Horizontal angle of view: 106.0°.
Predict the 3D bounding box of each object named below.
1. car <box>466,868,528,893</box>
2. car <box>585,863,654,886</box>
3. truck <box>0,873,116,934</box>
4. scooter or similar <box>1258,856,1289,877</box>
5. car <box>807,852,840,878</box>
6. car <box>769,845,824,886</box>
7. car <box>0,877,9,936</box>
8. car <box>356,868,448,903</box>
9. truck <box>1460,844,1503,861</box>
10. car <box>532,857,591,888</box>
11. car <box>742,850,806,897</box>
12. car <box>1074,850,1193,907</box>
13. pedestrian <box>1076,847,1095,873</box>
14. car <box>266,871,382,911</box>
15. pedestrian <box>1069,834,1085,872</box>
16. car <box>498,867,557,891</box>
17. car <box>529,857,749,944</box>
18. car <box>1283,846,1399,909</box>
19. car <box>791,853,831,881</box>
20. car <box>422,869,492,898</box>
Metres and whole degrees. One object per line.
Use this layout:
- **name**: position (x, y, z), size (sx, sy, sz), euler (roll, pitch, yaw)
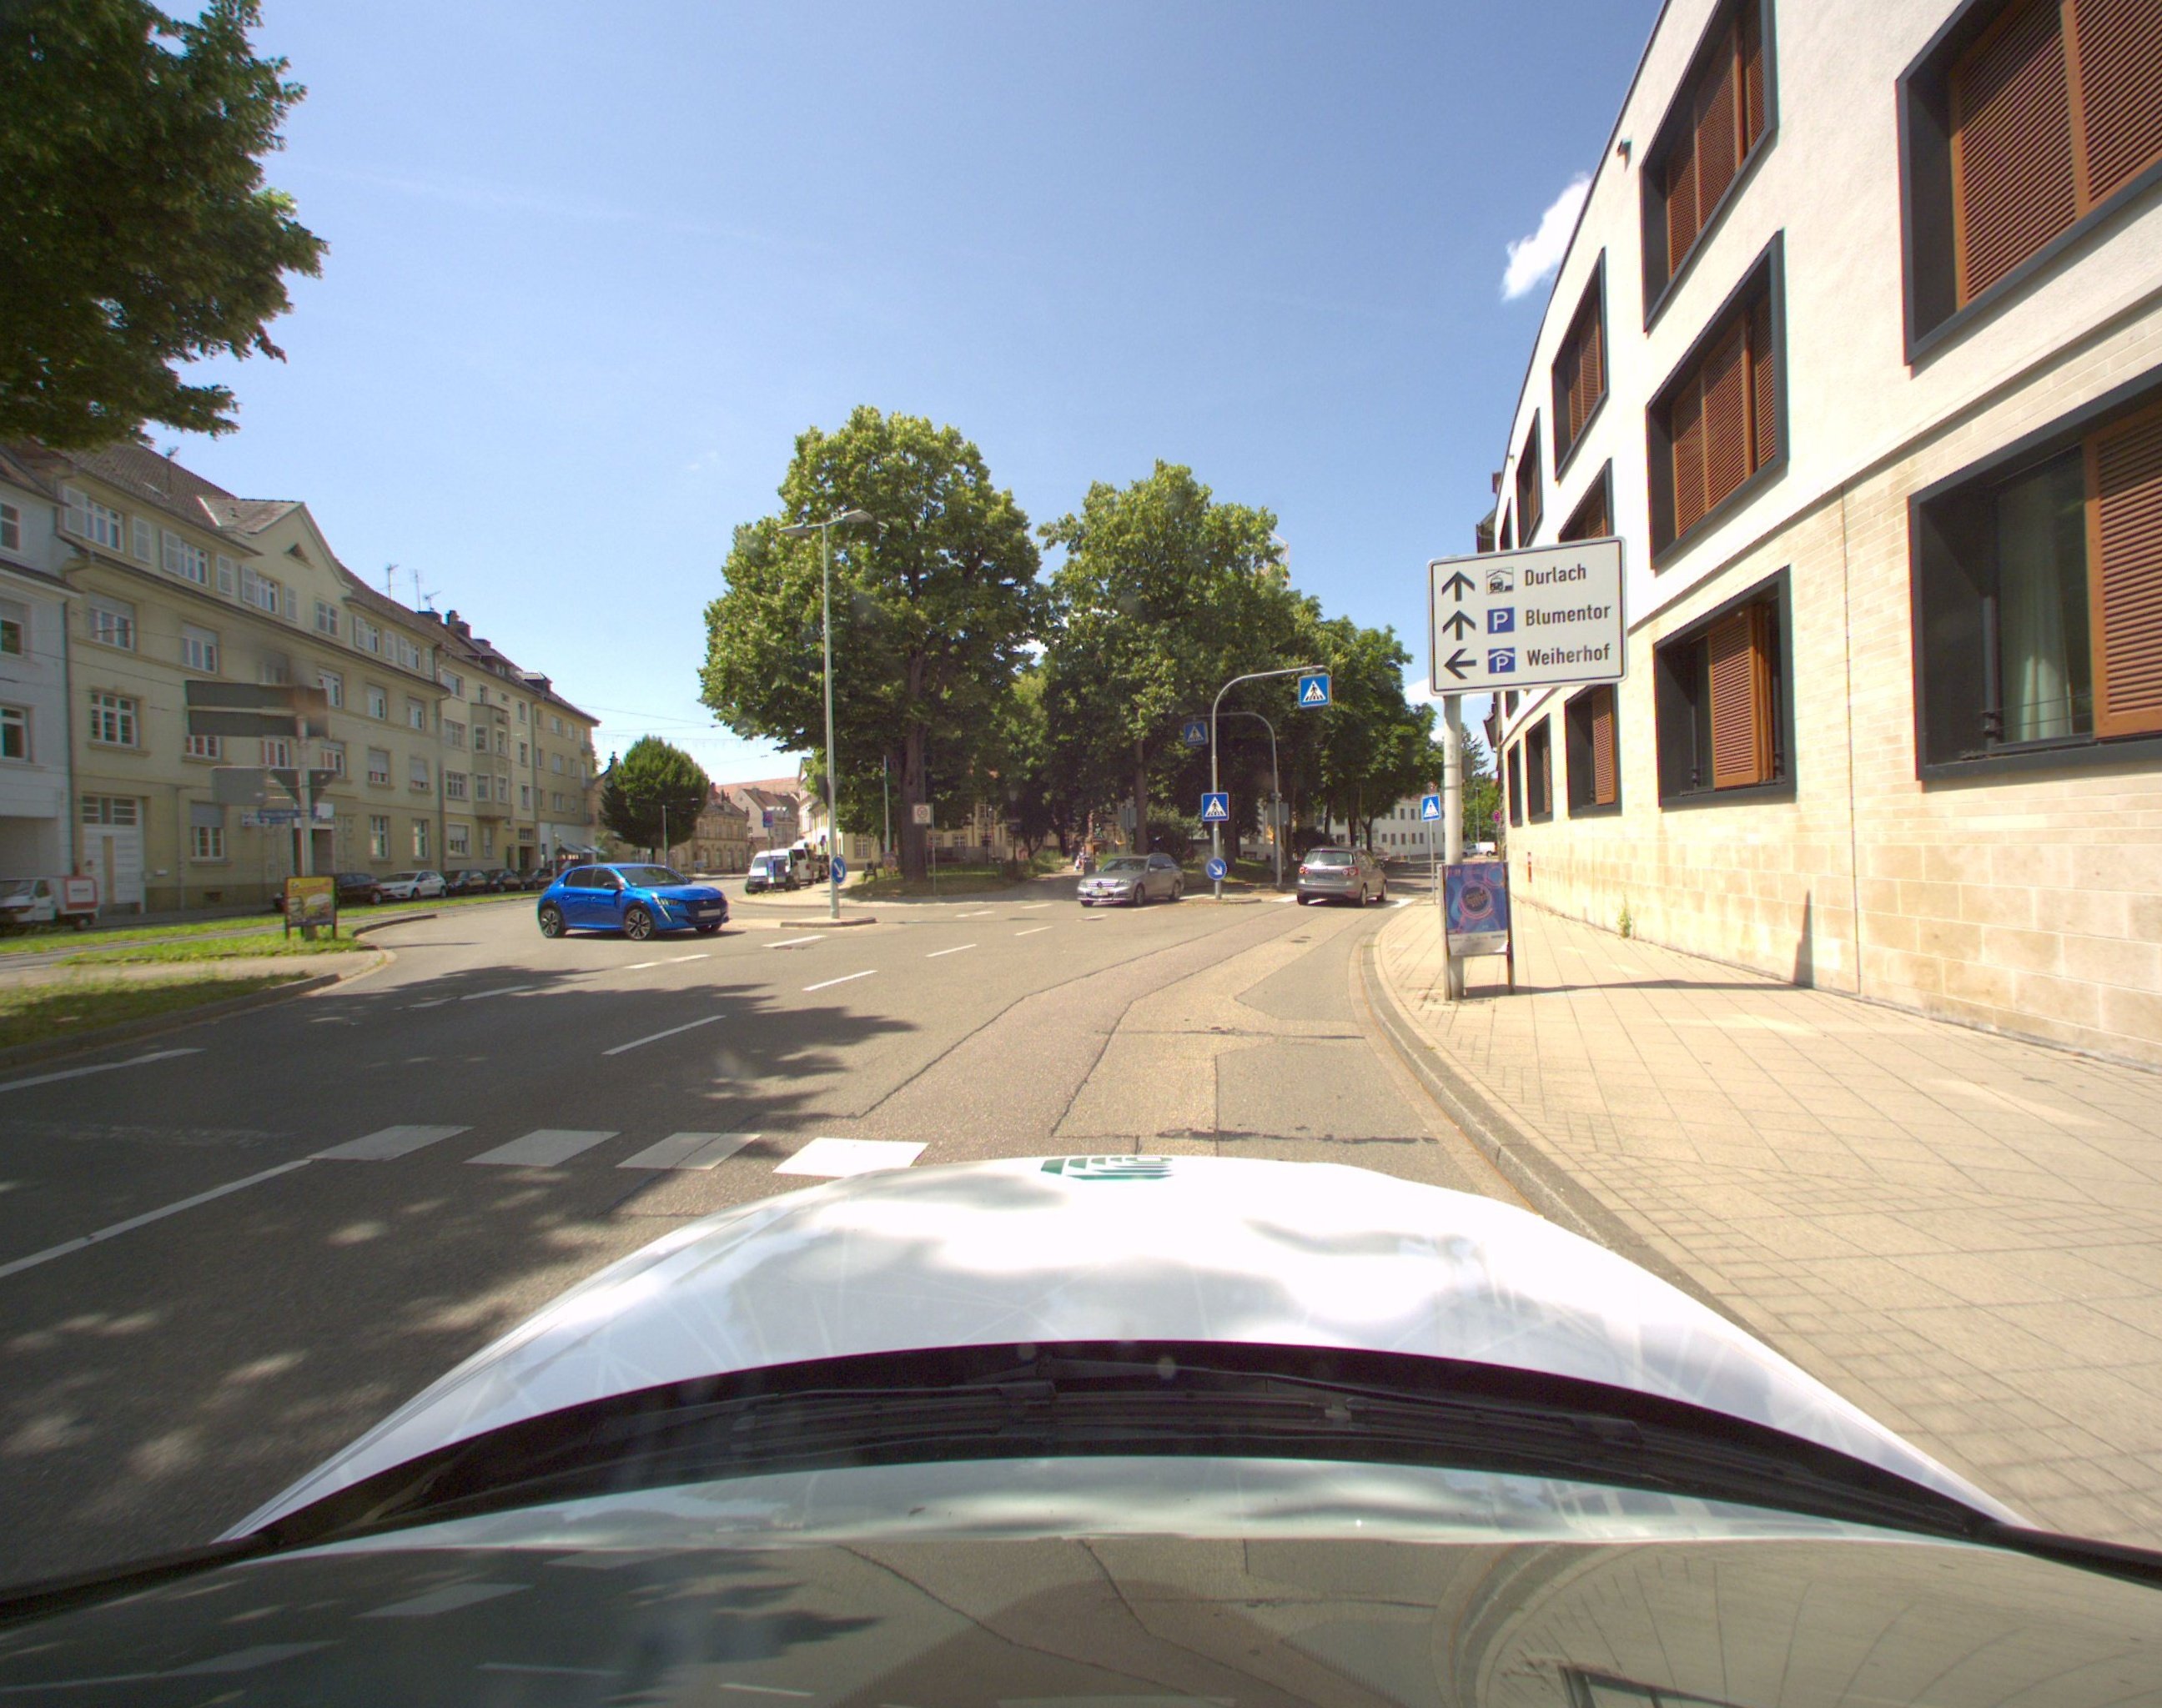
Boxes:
- **car**: position (-33.994, 1.517, 47.506), size (1.604, 1.277, 3.570), euler (-3, 1, -13)
- **car**: position (-35.505, 1.547, 62.780), size (4.214, 1.505, 1.992), euler (-4, 1, -18)
- **truck**: position (-28.207, 1.328, 22.175), size (1.128, 1.494, 2.581), euler (-3, 1, -15)
- **scooter or similar**: position (10.598, 0.662, 44.918), size (1.261, 0.991, 1.460), euler (8, 4, 26)
- **car**: position (-18.031, 0.756, 57.118), size (1.784, 1.693, 4.183), euler (-1, 0, -12)
- **car**: position (-14.999, 0.562, 43.133), size (2.051, 2.002, 5.227), euler (-1, 0, -12)
- **car**: position (-27.024, 1.338, 18.282), size (1.573, 1.451, 3.609), euler (-3, 1, -13)
- **car**: position (-31.754, 1.430, 38.206), size (1.688, 1.390, 3.840), euler (-3, 1, -13)
- **truck**: position (51.343, -0.196, 104.555), size (4.752, 2.013, 2.157), euler (-1, 0, 21)
- **car**: position (-36.041, 1.255, 56.658), size (1.856, 1.911, 4.749), euler (-3, 1, -13)
- **car**: position (-13.056, 0.778, 34.858), size (1.996, 1.826, 4.401), euler (-1, 0, -14)
- **car**: position (1.653, 0.652, 23.915), size (1.721, 1.488, 4.435), euler (-1, 0, 29)
- **pedestrian**: position (0.256, 0.292, 41.435), size (0.902, 1.252, 1.149), euler (-1, 1, 2)
- **car**: position (-30.456, 1.439, 32.913), size (1.688, 1.360, 3.840), euler (-3, 1, -13)
- **pedestrian**: position (-0.204, -0.064, 42.325), size (0.745, 1.910, 0.684), euler (-1, 1, 2)
- **car**: position (-35.064, 1.533, 51.704), size (1.644, 1.277, 4.244), euler (-3, 1, -13)
- **car**: position (-8.766, 0.852, 16.150), size (3.950, 1.492, 1.826), euler (-1, 1, 26)
- **car**: position (7.254, 0.562, 22.425), size (1.885, 1.533, 4.270), euler (1, 1, 34)
- **car**: position (-16.581, 0.778, 50.204), size (1.784, 1.624, 4.467), euler (-1, 0, -12)
- **car**: position (-32.892, 1.528, 43.016), size (1.688, 1.277, 3.273), euler (-3, 1, -14)
